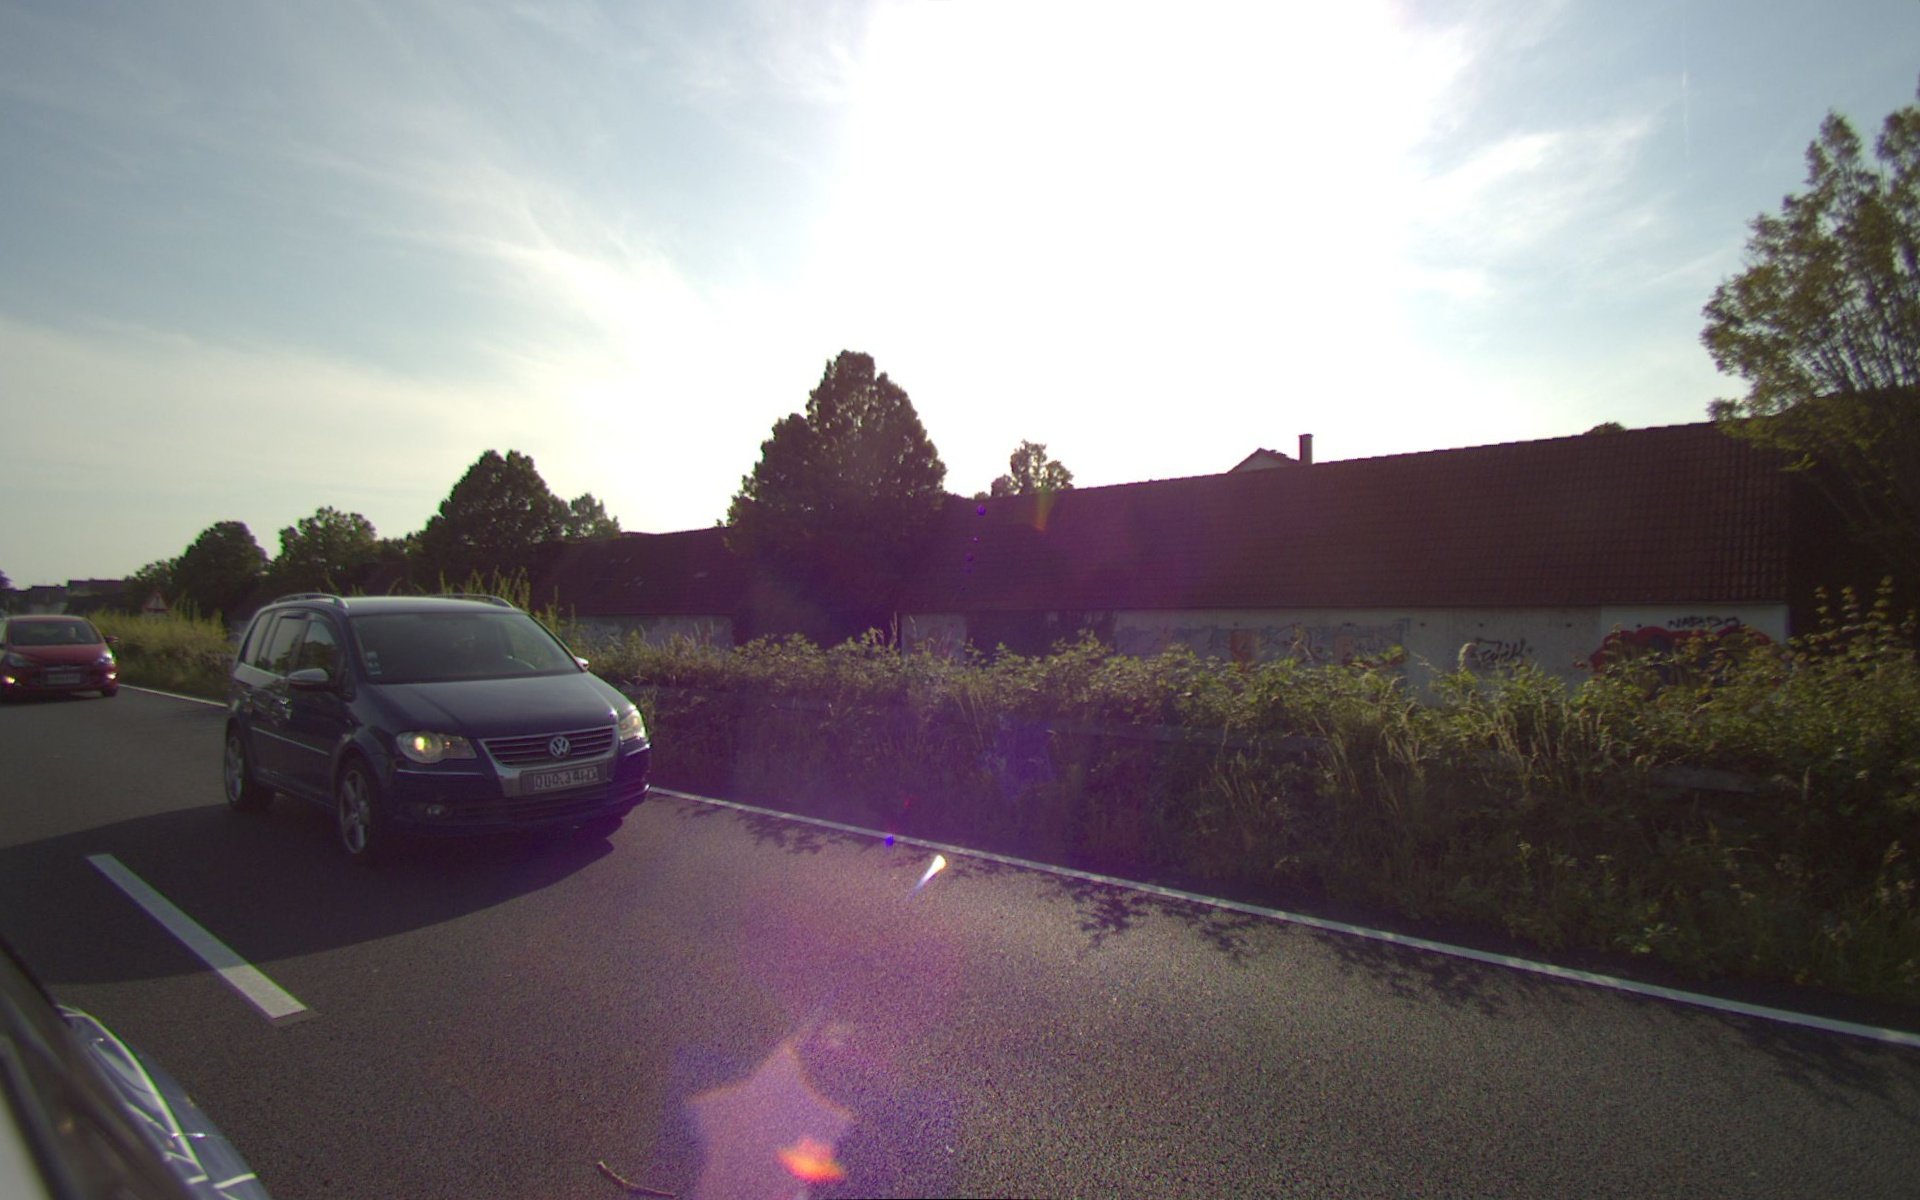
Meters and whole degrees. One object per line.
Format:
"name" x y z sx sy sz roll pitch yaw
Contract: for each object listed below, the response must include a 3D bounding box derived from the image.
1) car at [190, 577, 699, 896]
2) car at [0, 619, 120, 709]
"car" -4.000 0.720 7.415 4.680 1.633 1.754 0 -1 42
"car" -18.042 1.173 19.938 3.998 1.557 1.725 0 0 42
